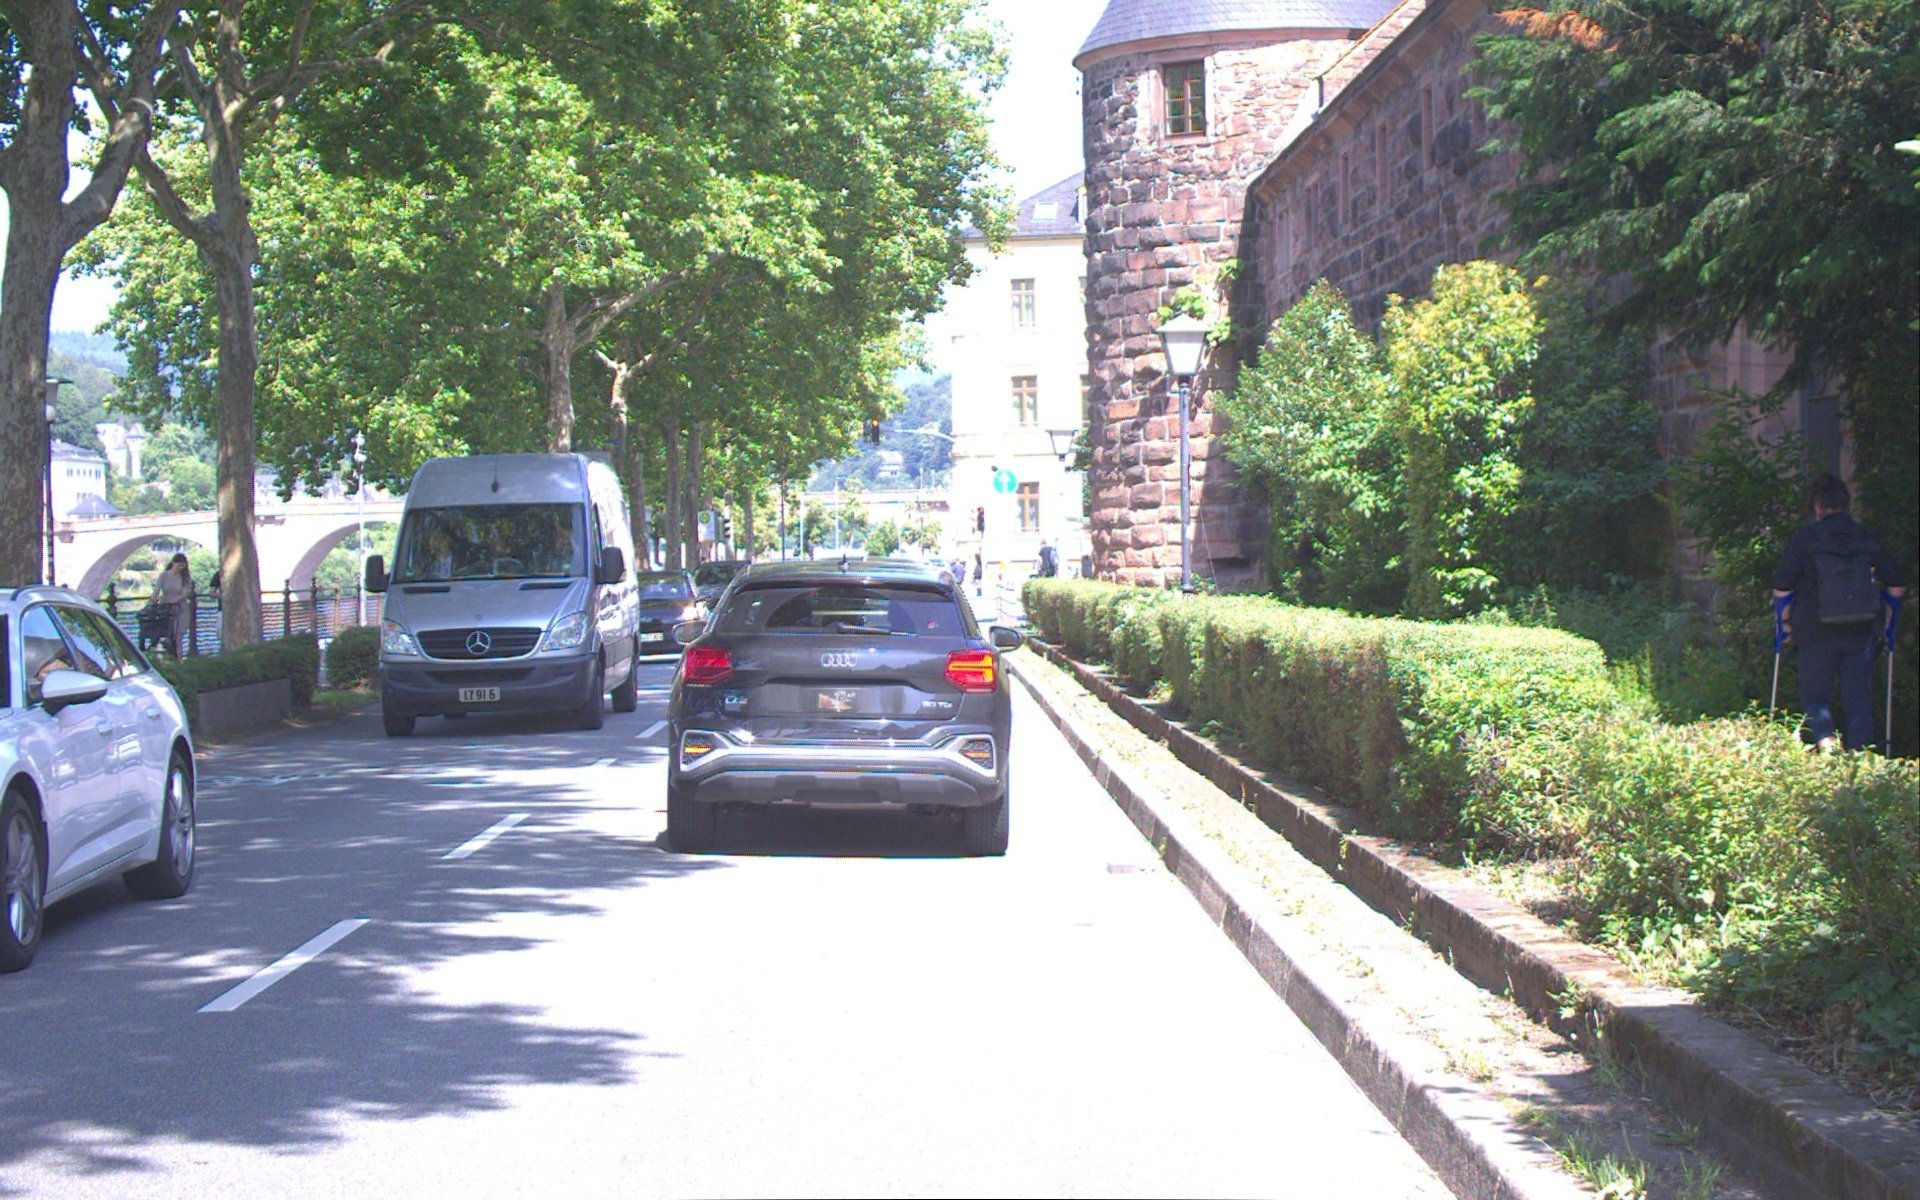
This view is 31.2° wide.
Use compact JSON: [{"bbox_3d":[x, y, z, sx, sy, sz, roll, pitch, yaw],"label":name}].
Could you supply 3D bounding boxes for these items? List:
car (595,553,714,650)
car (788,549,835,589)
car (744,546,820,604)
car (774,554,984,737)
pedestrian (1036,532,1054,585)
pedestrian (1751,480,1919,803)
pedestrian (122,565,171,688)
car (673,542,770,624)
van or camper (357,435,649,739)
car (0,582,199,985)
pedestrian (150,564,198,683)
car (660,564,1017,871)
[{"bbox_3d":[-4.936,-0.001,55.900,1.649,1.464,3.780,-2,1,-2],"label":"car"},{"bbox_3d":[-5.793,-1.205,134.400,1.615,1.518,3.476,1,0,1],"label":"car"},{"bbox_3d":[-5.276,-0.757,102.401,1.763,1.642,4.089,-2,1,3],"label":"car"},{"bbox_3d":[-0.710,0.376,32.178,1.801,1.557,3.716,-2,1,0],"label":"car"},{"bbox_3d":[2.653,-1.297,107.340,0.557,1.627,0.660,1,0,0],"label":"pedestrian"},{"bbox_3d":[4.587,0.210,18.016,0.698,1.647,0.705,1,0,2],"label":"pedestrian"},{"bbox_3d":[-10.446,0.335,44.155,0.457,1.549,0.586,-2,1,-1],"label":"pedestrian"},{"bbox_3d":[-5.205,-0.391,75.444,1.877,1.692,4.259,-2,1,-2],"label":"car"},{"bbox_3d":[-4.263,-0.137,33.016,1.960,2.558,5.841,-3,0,-1],"label":"van or camper"},{"bbox_3d":[-4.457,0.706,14.005,1.769,1.452,4.534,-3,1,-2],"label":"car"},{"bbox_3d":[-10.390,0.310,45.437,0.457,1.549,0.586,-2,1,-1],"label":"pedestrian"},{"bbox_3d":[-0.660,0.564,18.853,1.748,1.489,3.629,1,1,-2],"label":"car"}]
